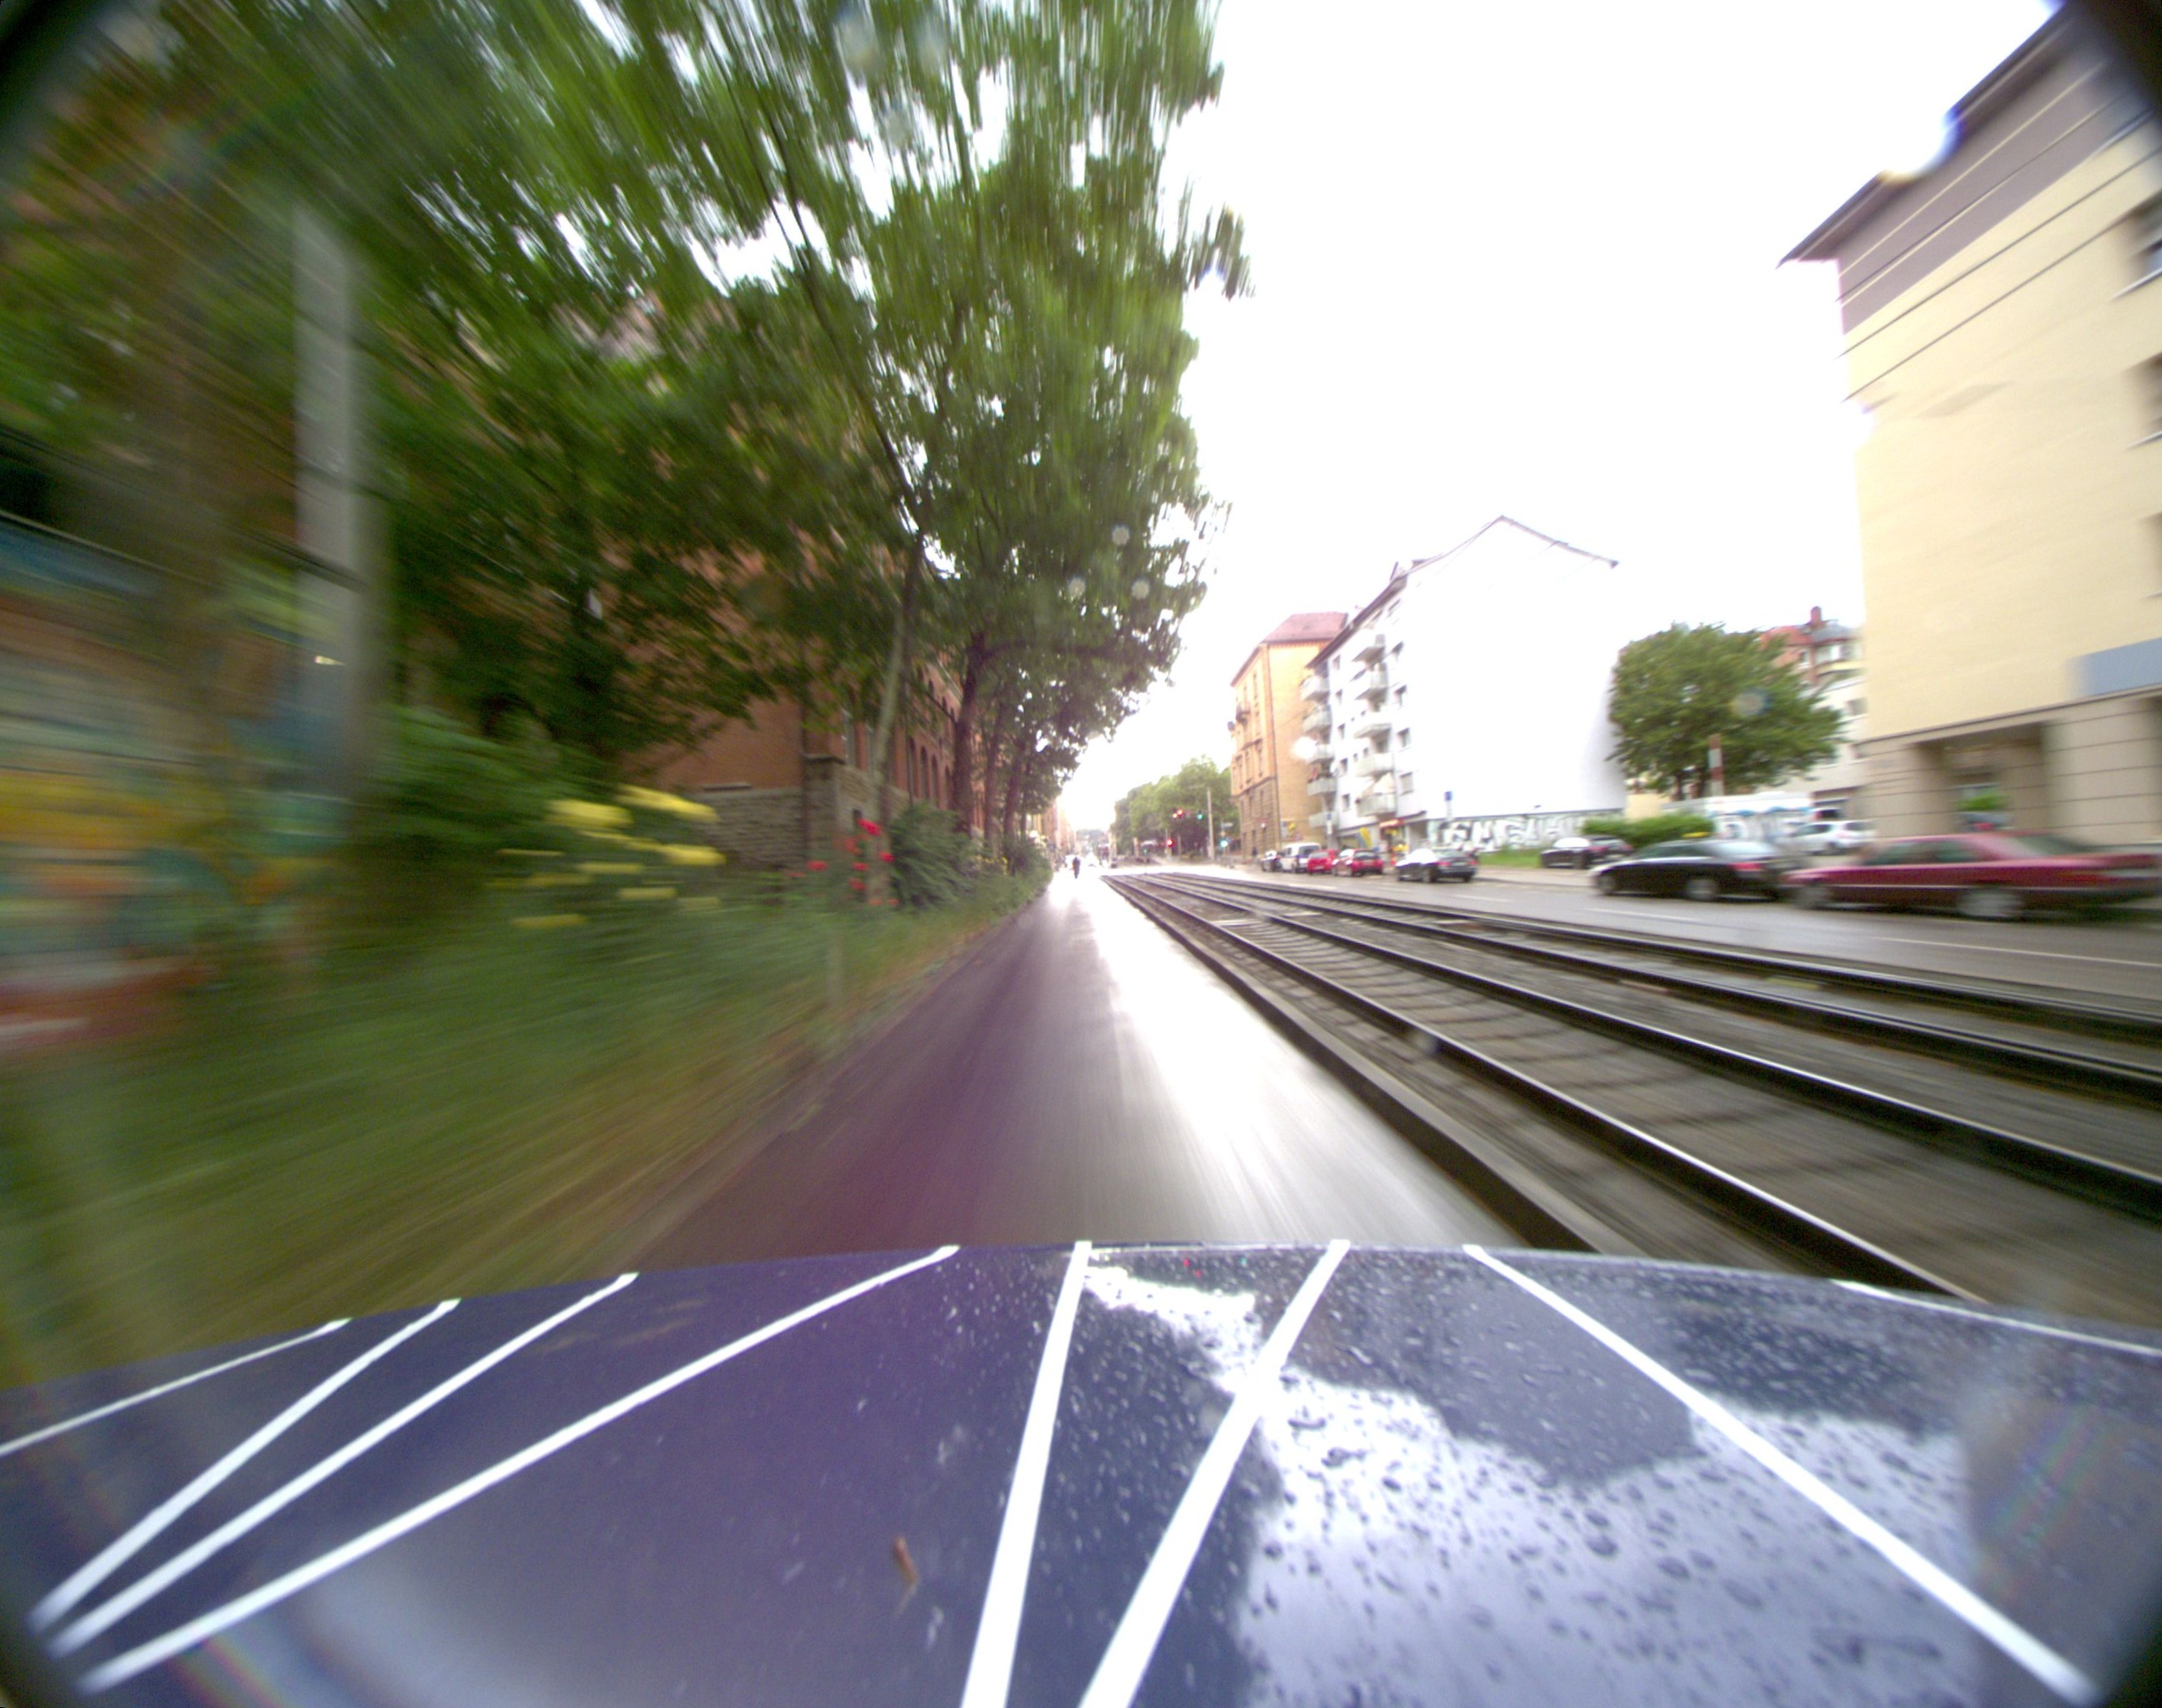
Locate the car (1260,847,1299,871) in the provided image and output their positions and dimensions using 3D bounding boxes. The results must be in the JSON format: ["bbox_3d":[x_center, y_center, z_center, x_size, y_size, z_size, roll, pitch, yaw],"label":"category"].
[{"bbox_3d":[15.042,0.344,57.802,1.737,1.641,4.363,-3,0,0],"label":"car"}]

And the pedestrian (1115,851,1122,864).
[{"bbox_3d":[5.291,0.488,107.803,0.827,1.788,1.001,-2,1,-1],"label":"pedestrian"}]

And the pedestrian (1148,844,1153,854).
[{"bbox_3d":[14.353,-1.009,156.349,0.837,2.050,0.884,-2,1,-3],"label":"pedestrian"}]

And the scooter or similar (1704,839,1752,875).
[{"bbox_3d":[21.201,0.105,24.913,1.295,1.106,0.379,-3,0,-6],"label":"scooter or similar"}]

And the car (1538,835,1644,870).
[{"bbox_3d":[21.488,-0.056,32.262,1.874,1.296,4.480,-3,0,7],"label":"car"}]

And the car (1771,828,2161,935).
[{"bbox_3d":[15.152,0.371,13.226,1.856,1.424,4.831,-4,0,1],"label":"car"}]

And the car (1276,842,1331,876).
[{"bbox_3d":[15.198,0.334,52.316,2.075,1.997,5.301,-5,0,0],"label":"car"}]

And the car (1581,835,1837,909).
[{"bbox_3d":[15.016,0.372,18.660,1.857,1.499,4.989,-2,0,-5],"label":"car"}]

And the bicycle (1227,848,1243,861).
[{"bbox_3d":[21.682,0.028,107.035,2.097,1.688,0.556,-3,1,-6],"label":"bicycle"}]

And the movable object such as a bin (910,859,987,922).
[{"bbox_3d":[-3.155,0.855,18.188,1.402,1.444,1.218,-1,0,16],"label":"movable object such as a bin"}]

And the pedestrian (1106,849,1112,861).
[{"bbox_3d":[3.970,0.102,107.646,0.837,1.595,1.001,-2,1,-1],"label":"pedestrian"}]

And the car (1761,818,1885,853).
[{"bbox_3d":[32.399,-0.770,33.331,1.672,1.392,3.904,-3,0,2],"label":"car"}]

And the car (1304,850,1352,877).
[{"bbox_3d":[15.498,0.579,47.566,1.781,1.425,3.989,-3,1,34],"label":"car"}]

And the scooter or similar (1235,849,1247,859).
[{"bbox_3d":[22.131,0.002,105.114,1.507,1.363,0.452,-3,1,-16],"label":"scooter or similar"}]

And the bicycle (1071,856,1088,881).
[{"bbox_3d":[-0.093,0.929,49.615,0.936,1.545,3.135,-3,0,2],"label":"bicycle"}]

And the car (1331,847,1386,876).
[{"bbox_3d":[15.053,0.378,41.469,1.657,1.443,4.074,-2,1,3],"label":"car"}]

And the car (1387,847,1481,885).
[{"bbox_3d":[14.660,0.451,31.863,1.684,1.388,4.621,-2,0,-1],"label":"car"}]

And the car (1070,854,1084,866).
[{"bbox_3d":[-0.545,0.791,102.995,1.884,1.439,3.999,-3,1,0],"label":"car"}]

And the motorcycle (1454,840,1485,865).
[{"bbox_3d":[20.535,-0.080,40.207,0.641,1.193,1.784,-6,2,-1],"label":"motorcycle"}]

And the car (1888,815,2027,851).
[{"bbox_3d":[37.255,-0.884,32.456,1.672,1.334,3.742,-3,1,2],"label":"car"}]

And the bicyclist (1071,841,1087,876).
[{"bbox_3d":[-0.121,0.286,49.904,0.920,2.250,1.287,-2,1,2],"label":"bicyclist"}]

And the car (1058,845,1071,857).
[{"bbox_3d":[-2.815,-0.482,129.601,1.825,1.893,5.991,-3,1,2],"label":"car"}]

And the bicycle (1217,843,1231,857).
[{"bbox_3d":[20.703,-0.586,110.150,1.896,2.002,0.518,-4,1,-6],"label":"bicycle"}]

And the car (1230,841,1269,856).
[{"bbox_3d":[18.351,-0.587,82.953,3.796,1.529,1.777,-2,1,-6],"label":"car"}]
